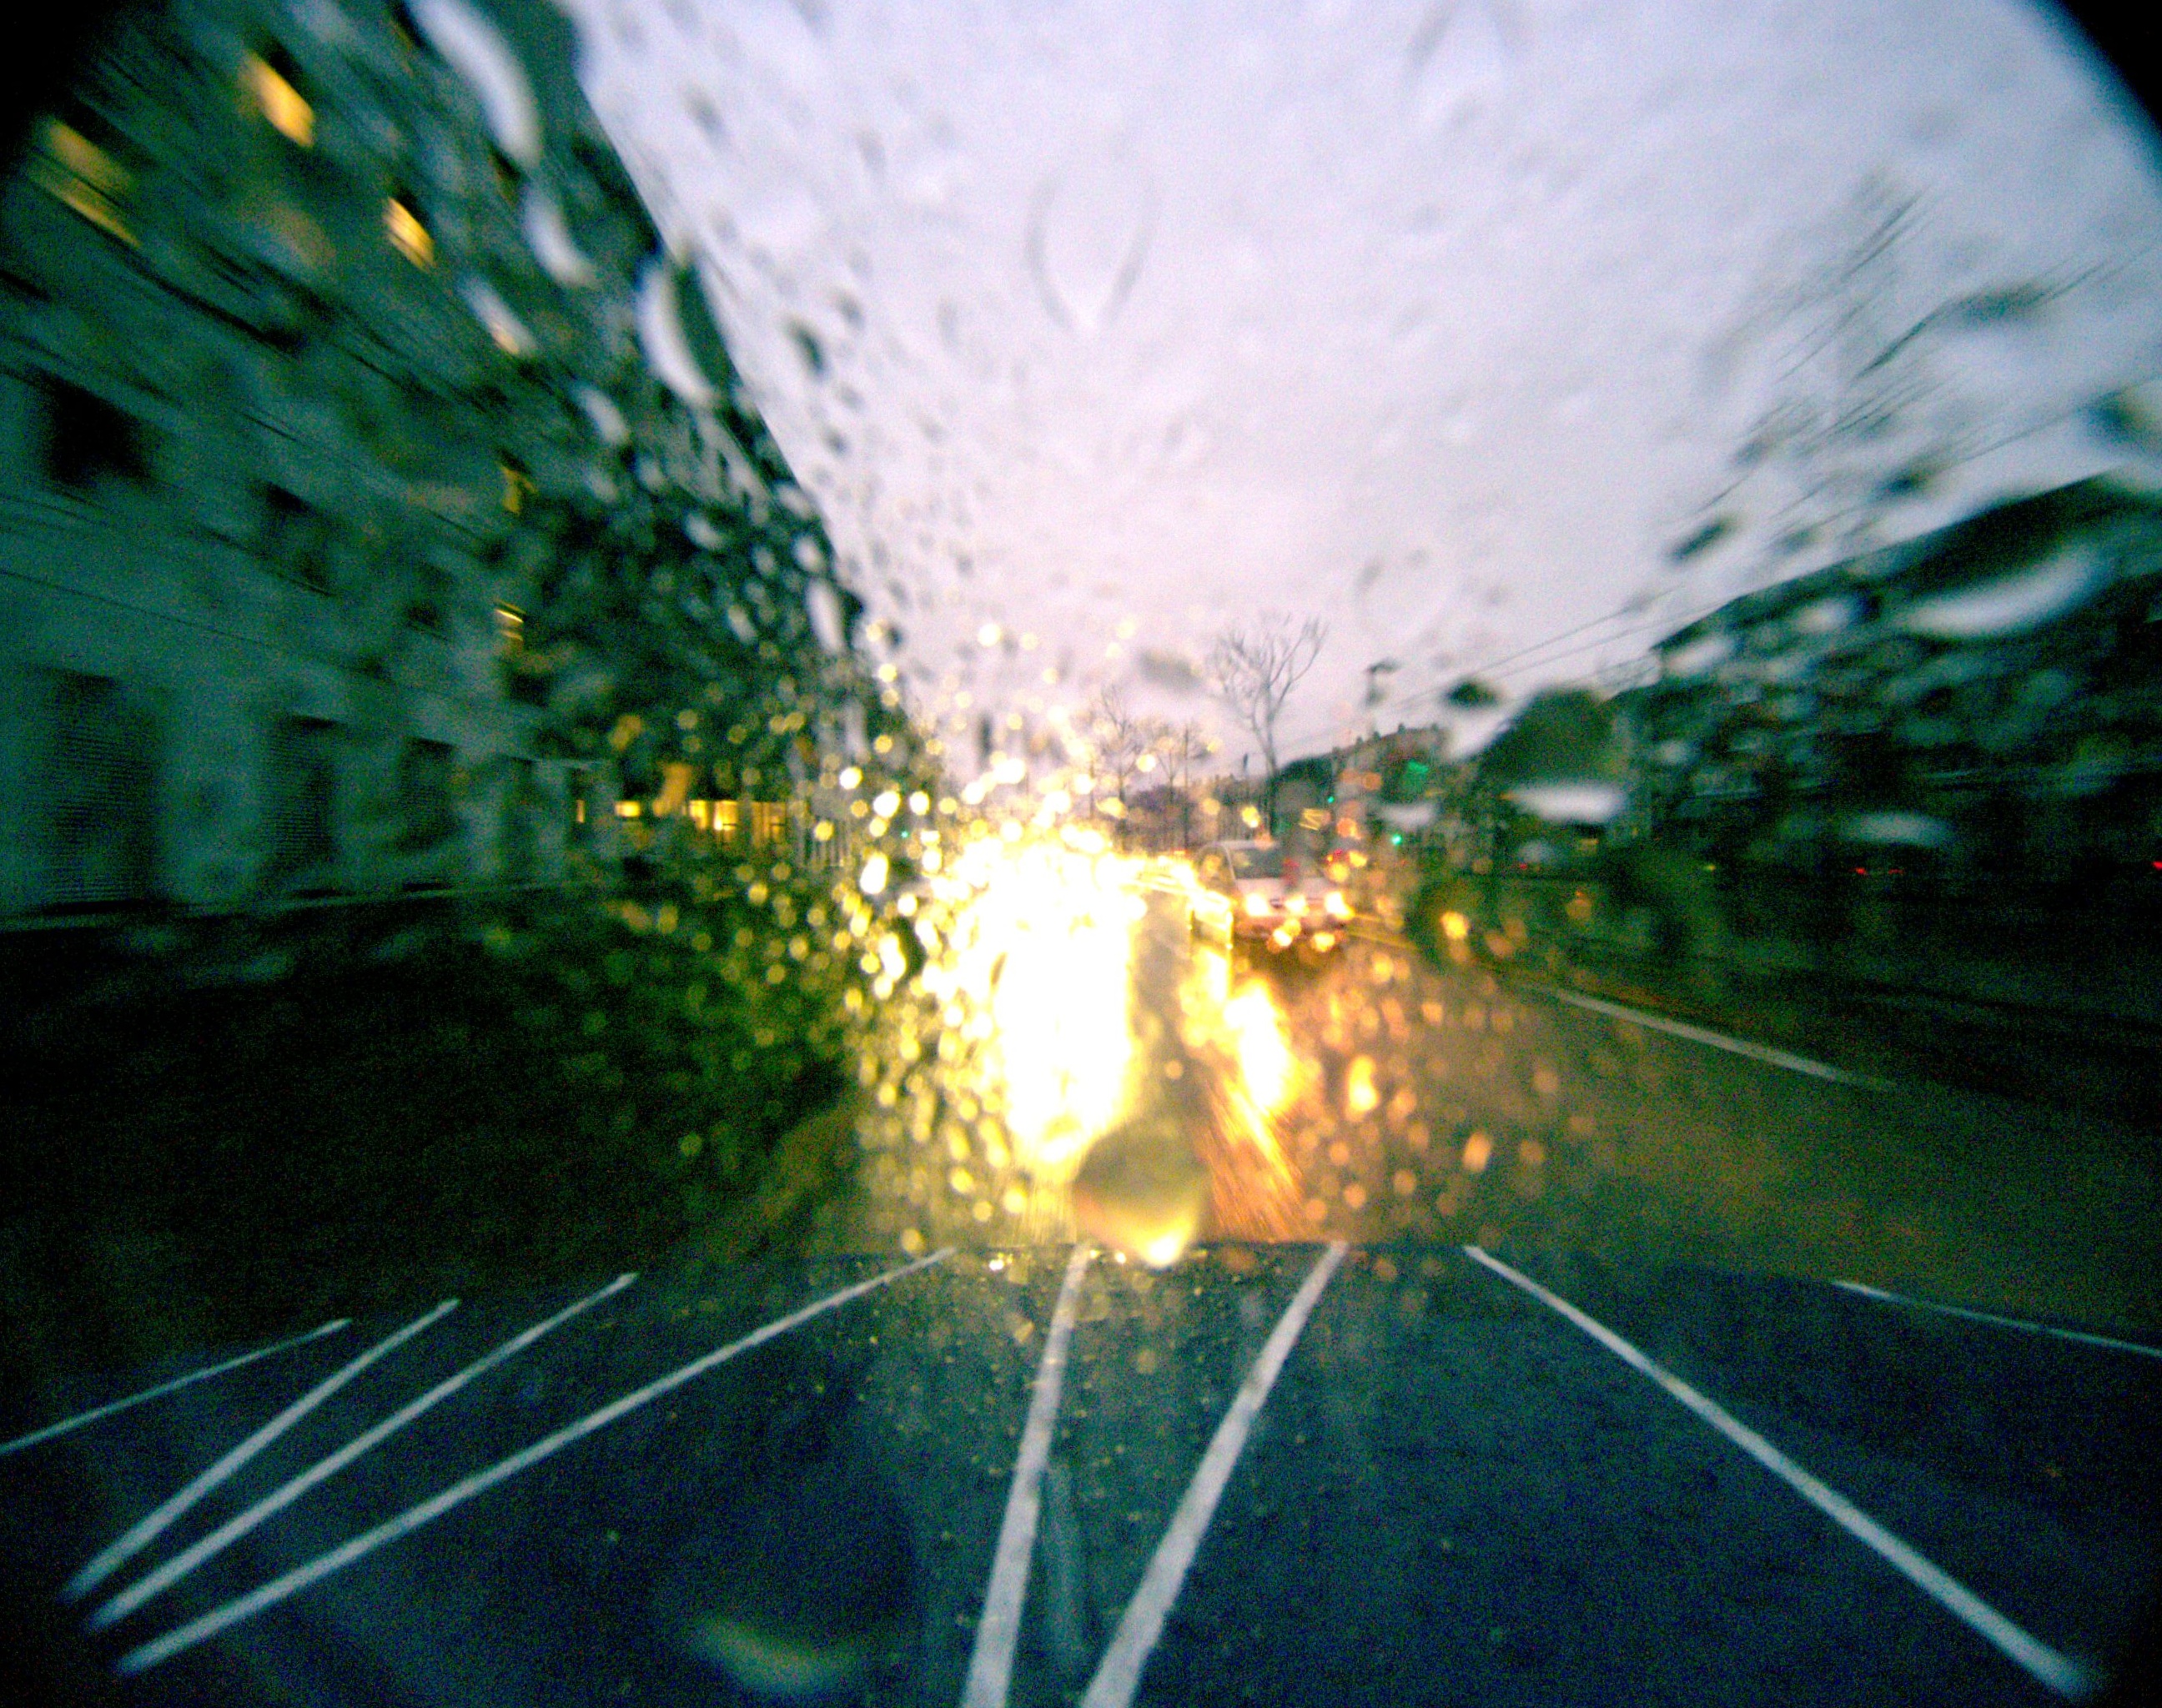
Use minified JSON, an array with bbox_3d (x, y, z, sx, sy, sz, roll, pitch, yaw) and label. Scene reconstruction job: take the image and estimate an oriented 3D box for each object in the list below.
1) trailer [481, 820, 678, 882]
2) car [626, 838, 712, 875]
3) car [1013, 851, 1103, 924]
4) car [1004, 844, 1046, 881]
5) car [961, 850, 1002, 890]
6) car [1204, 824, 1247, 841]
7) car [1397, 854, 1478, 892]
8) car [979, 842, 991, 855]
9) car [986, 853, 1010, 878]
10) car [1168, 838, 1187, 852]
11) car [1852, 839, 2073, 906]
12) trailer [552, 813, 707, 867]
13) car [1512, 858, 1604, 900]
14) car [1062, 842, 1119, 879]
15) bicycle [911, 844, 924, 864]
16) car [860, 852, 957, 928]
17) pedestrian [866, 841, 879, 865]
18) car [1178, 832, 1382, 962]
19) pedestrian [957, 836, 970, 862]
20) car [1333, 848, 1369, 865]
[{"bbox_3d":[-16.507,-0.092,25.220,5.081,1.900,2.130,-1,0,-1],"label":"trailer"},{"bbox_3d":[-16.676,0.047,30.998,1.637,1.363,4.525,1,2,-9],"label":"car"},{"bbox_3d":[-0.651,0.681,17.810,1.758,1.418,3.801,-2,1,-7],"label":"car"},{"bbox_3d":[-2.661,0.361,35.588,1.765,1.520,3.731,-2,2,-6],"label":"car"},{"bbox_3d":[-4.260,0.635,32.784,1.601,1.432,4.224,-2,2,-7],"label":"car"},{"bbox_3d":[21.639,-3.212,113.817,5.894,2.242,1.824,-1,3,27],"label":"car"},{"bbox_3d":[20.836,1.061,44.683,2.029,1.902,4.898,-2,2,-6],"label":"car"},{"bbox_3d":[-12.940,-0.719,102.586,1.494,1.585,3.996,-2,2,-6],"label":"car"},{"bbox_3d":[-6.356,0.869,58.335,1.610,1.667,3.683,-2,2,-3],"label":"car"},{"bbox_3d":[11.976,-1.173,94.090,1.527,1.630,3.746,-1,2,-5],"label":"car"},{"bbox_3d":[21.832,0.394,19.016,1.693,1.427,3.234,-2,2,-5],"label":"car"},{"bbox_3d":[-22.487,-0.704,38.157,6.279,2.566,2.207,0,1,-10],"label":"trailer"},{"bbox_3d":[23.489,1.170,37.590,1.696,1.749,3.996,-2,2,-7],"label":"car"},{"bbox_3d":[0.351,0.246,34.200,1.976,1.493,4.088,-2,1,-7],"label":"car"},{"bbox_3d":[-9.517,-0.003,44.351,0.552,1.109,2.164,1,2,-7],"label":"bicycle"},{"bbox_3d":[-3.492,0.671,15.900,1.596,1.386,3.484,1,0,-7],"label":"car"},{"bbox_3d":[-15.177,-0.100,55.303,0.739,1.726,0.702,-2,3,-9],"label":"pedestrian"},{"bbox_3d":[2.944,0.522,12.214,2.021,1.668,3.997,-2,2,-3],"label":"car"},{"bbox_3d":[-8.239,-0.364,53.350,0.773,1.798,0.698,3,2,-10],"label":"pedestrian"},{"bbox_3d":[16.999,0.151,47.946,1.147,0.932,2.489,-1,2,-7],"label":"car"}]
